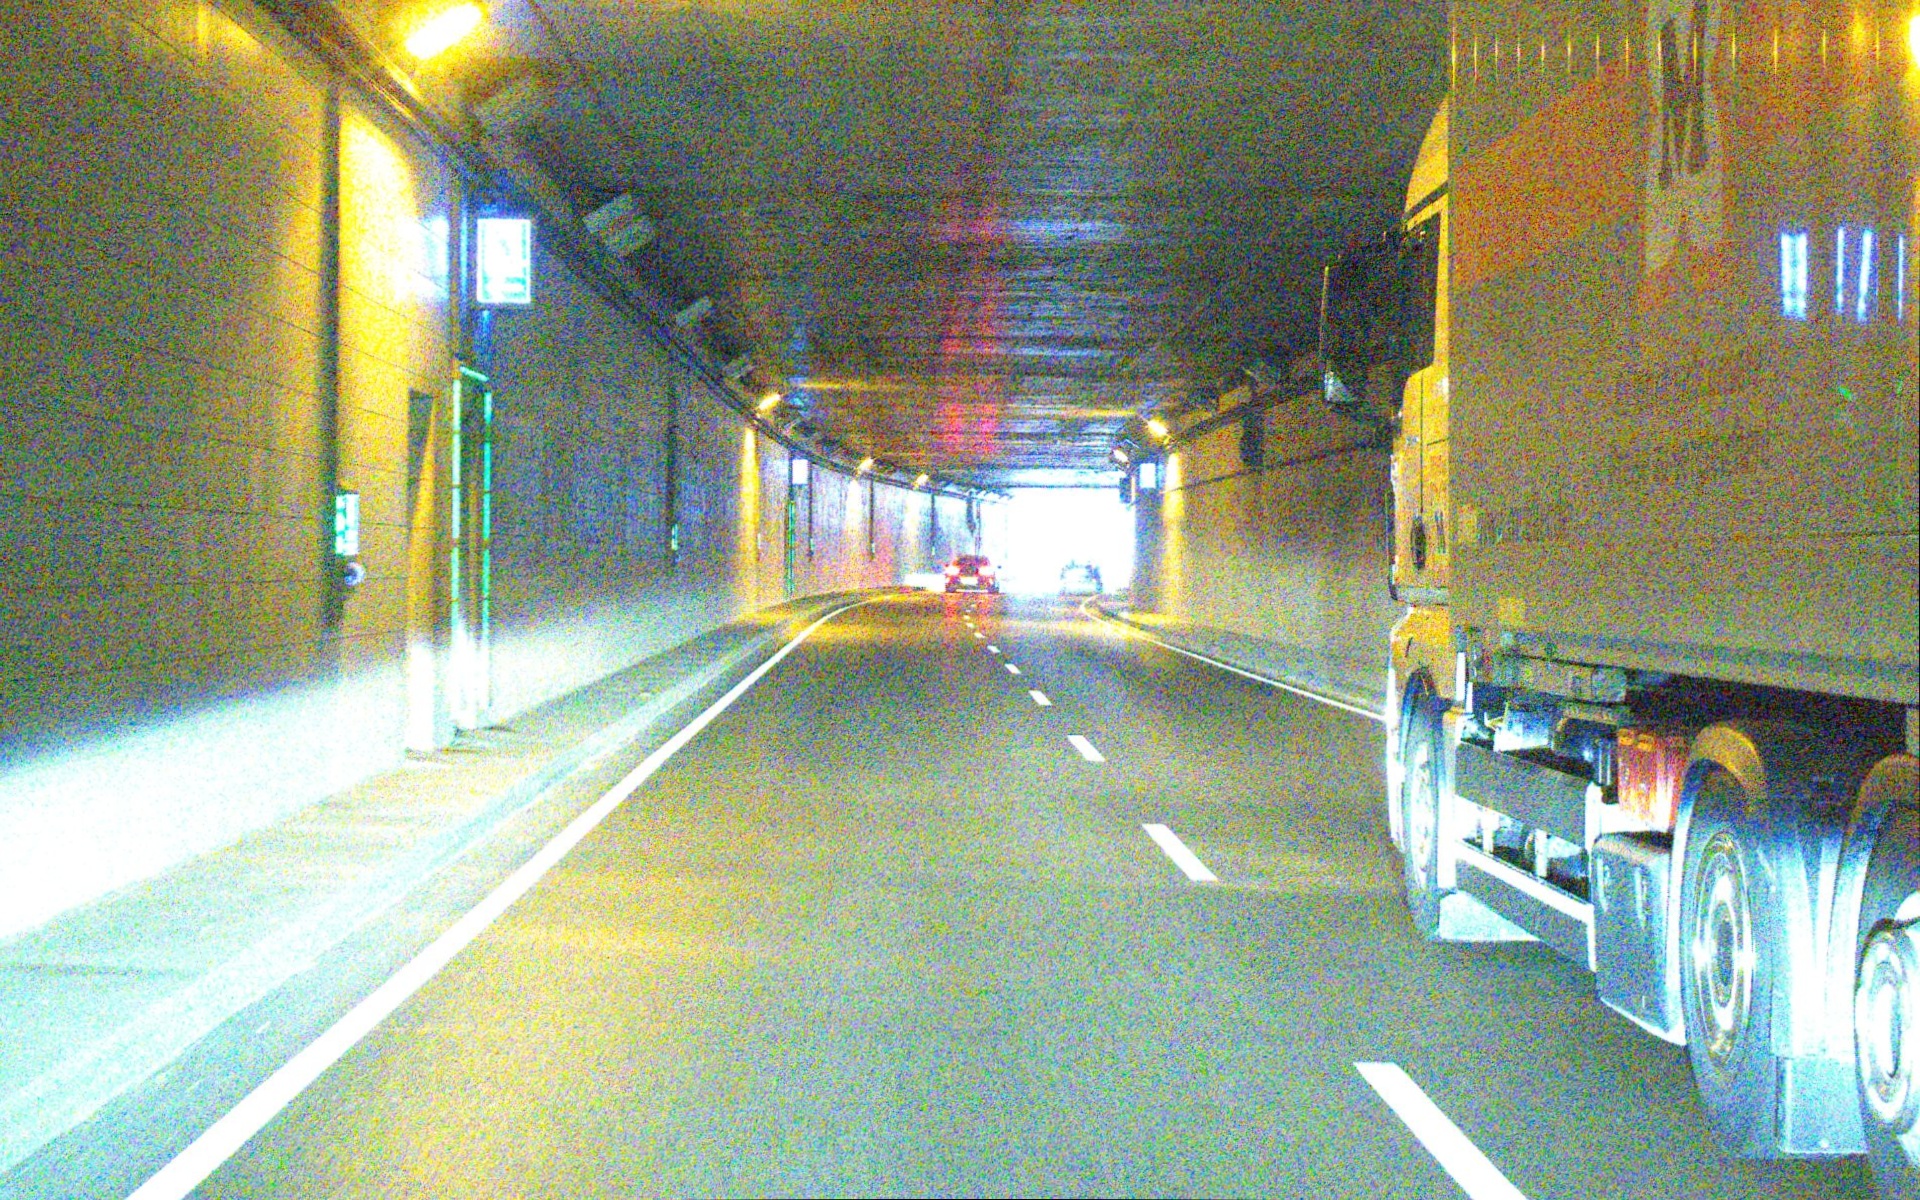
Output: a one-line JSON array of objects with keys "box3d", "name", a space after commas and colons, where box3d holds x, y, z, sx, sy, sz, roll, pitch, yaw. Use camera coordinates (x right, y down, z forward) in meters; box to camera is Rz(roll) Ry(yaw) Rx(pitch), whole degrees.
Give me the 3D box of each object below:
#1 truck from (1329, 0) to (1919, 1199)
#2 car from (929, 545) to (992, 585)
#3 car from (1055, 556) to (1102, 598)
[{"box3d": [3.111, -0.567, 9.828, 2.888, 3.900, 9.909, 1, 1, -1], "name": "truck"}, {"box3d": [0.042, -1.275, 126.040, 1.841, 1.384, 3.999, 1, 0, 6], "name": "car"}, {"box3d": [5.031, -0.982, 145.430, 1.869, 1.726, 3.999, 1, 0, 4], "name": "car"}]
